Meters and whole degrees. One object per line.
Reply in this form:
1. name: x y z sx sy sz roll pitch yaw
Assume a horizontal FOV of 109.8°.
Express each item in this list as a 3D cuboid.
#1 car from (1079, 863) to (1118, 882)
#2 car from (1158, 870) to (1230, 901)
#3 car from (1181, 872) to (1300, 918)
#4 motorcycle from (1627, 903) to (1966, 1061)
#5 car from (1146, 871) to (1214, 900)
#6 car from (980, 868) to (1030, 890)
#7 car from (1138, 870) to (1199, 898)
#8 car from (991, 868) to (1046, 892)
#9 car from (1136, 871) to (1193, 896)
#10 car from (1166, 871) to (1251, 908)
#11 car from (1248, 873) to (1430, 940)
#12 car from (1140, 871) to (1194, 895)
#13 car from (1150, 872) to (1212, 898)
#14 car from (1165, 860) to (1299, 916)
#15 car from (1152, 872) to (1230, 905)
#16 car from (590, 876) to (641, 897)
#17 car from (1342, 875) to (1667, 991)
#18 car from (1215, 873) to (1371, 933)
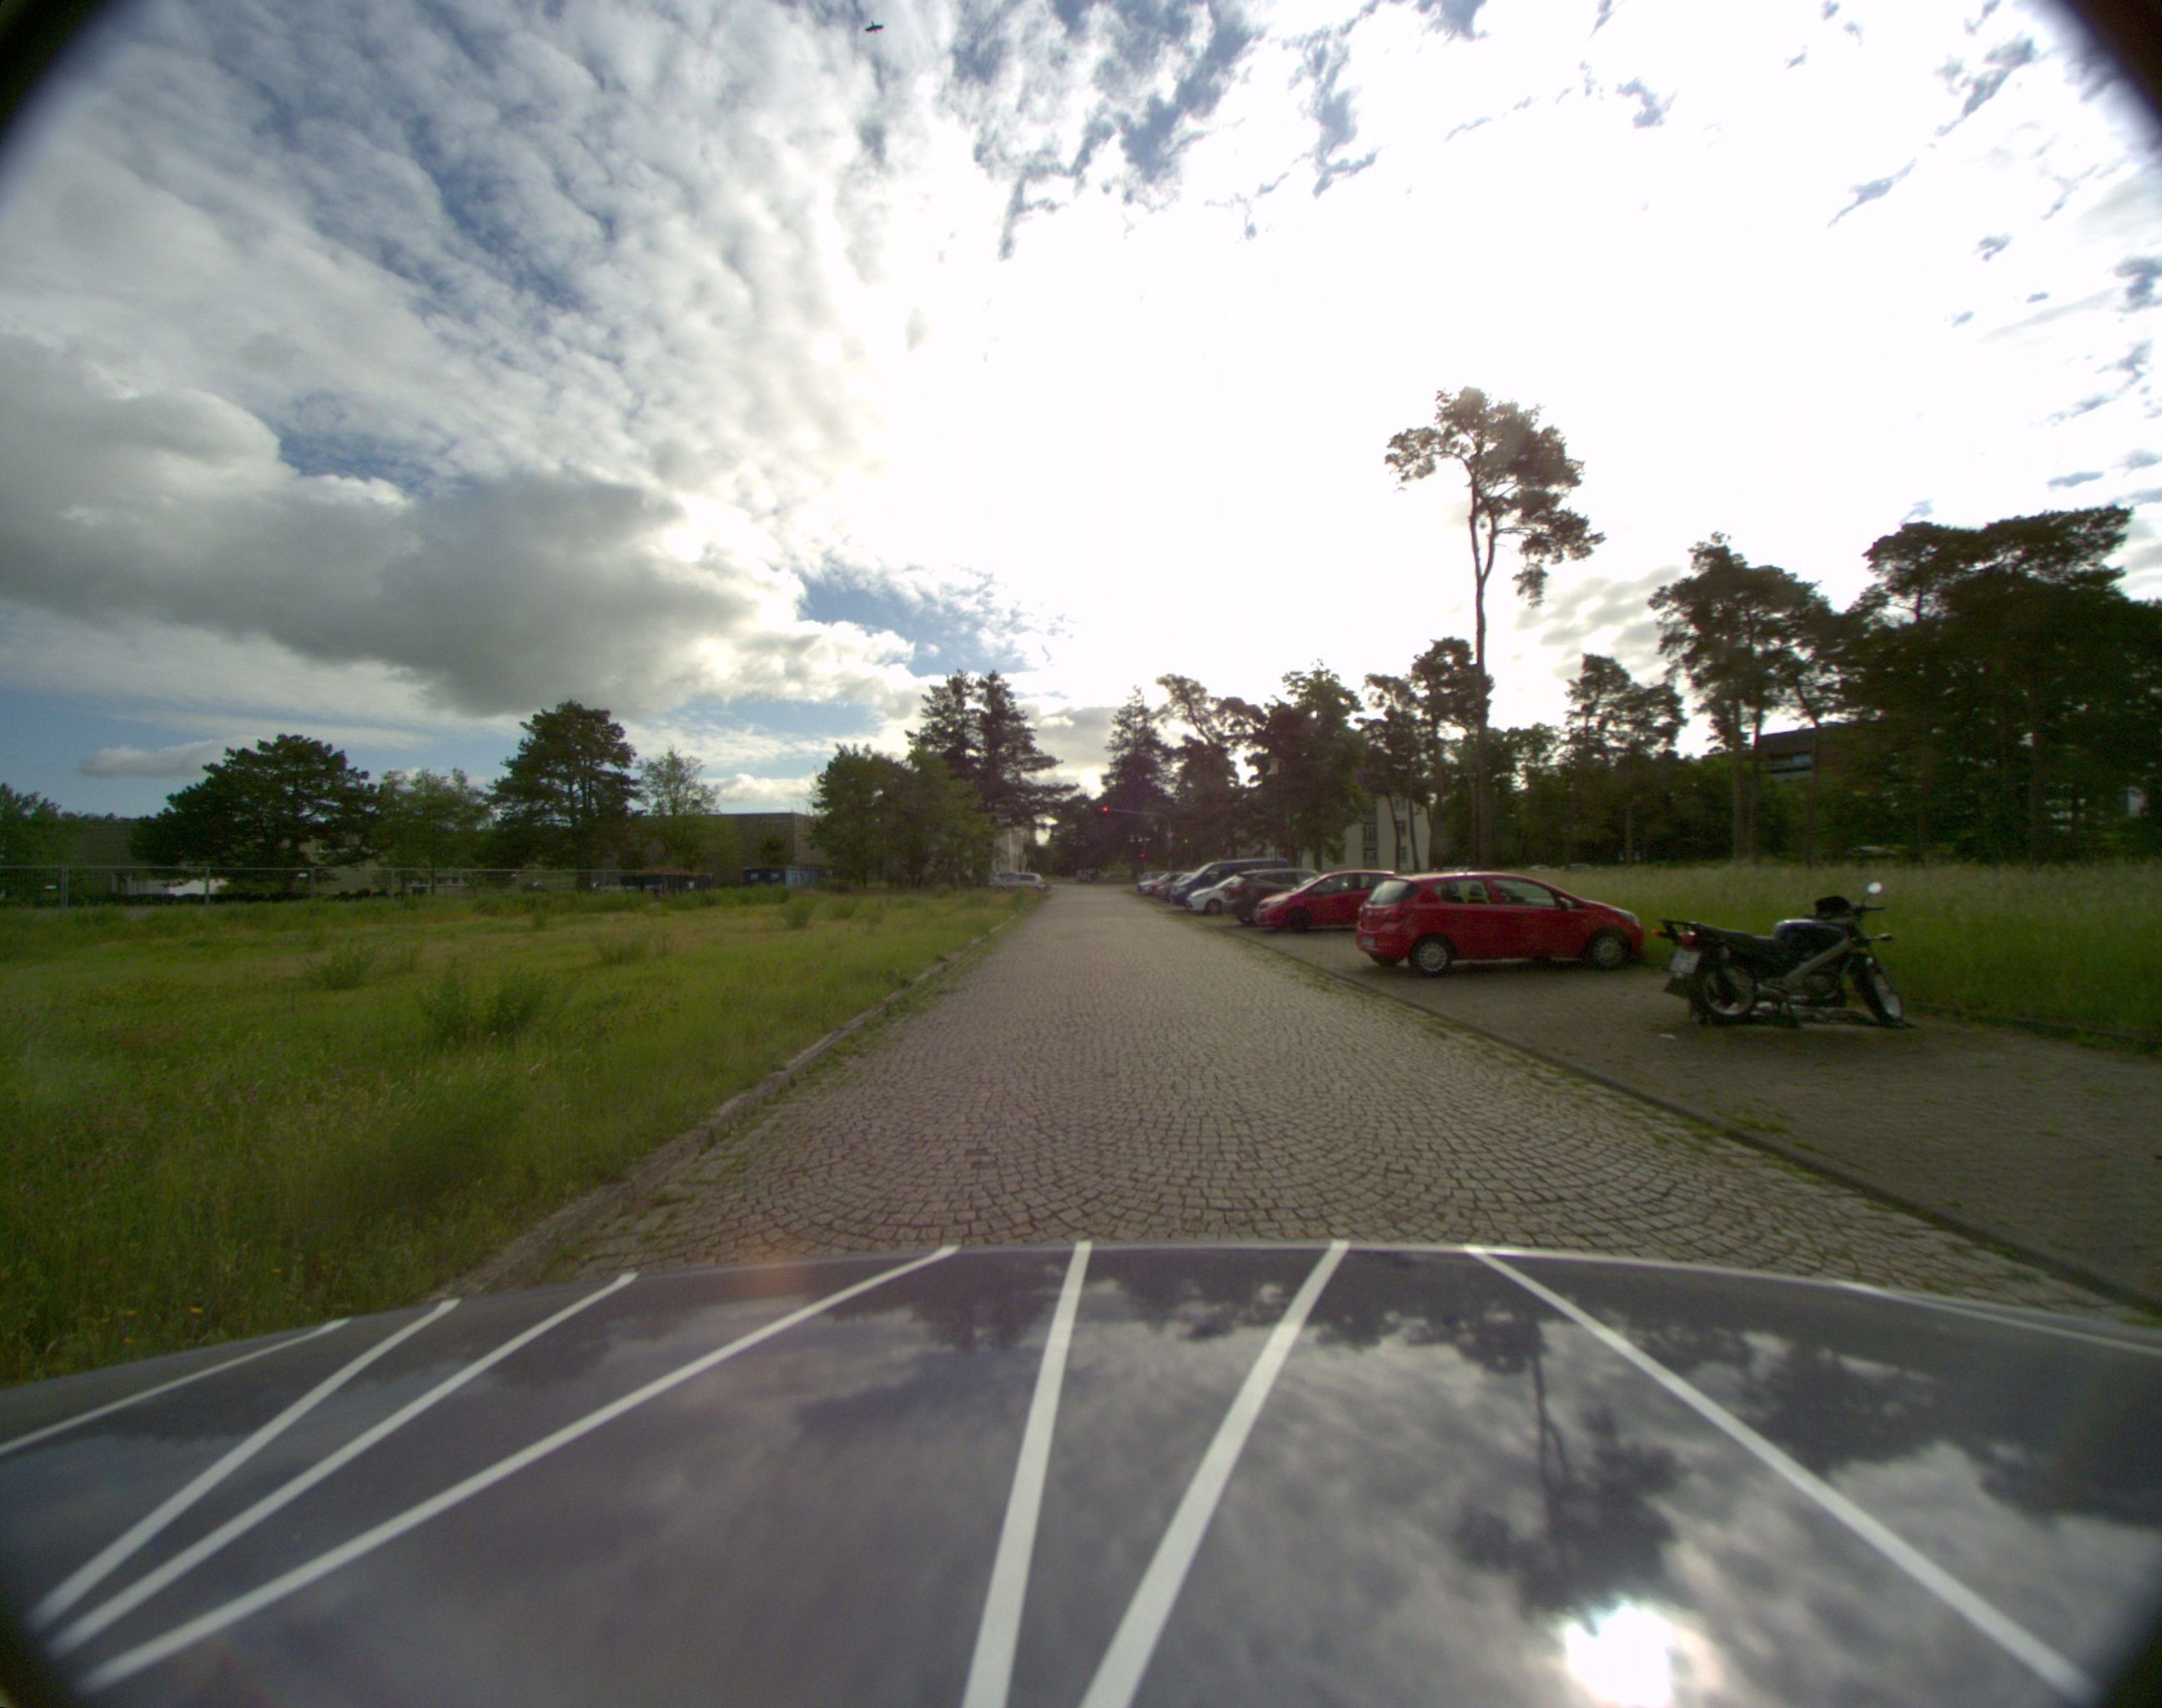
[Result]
1. car: 2.840 2.921 121.431 5.797 2.547 2.768 -4 0 -6
2. car: 6.219 1.730 41.905 3.573 1.425 1.606 -4 0 -7
3. car: 5.834 1.481 28.097 3.930 1.384 1.742 -4 0 -2
4. motorcycle: 6.474 1.134 6.966 2.361 1.280 0.744 -1 -1 0
5. car: 5.771 1.818 44.531 3.573 1.408 1.637 -4 0 -7
6. car: -5.931 1.906 58.781 3.731 1.429 1.625 -3 0 -8
7. car: 5.616 1.916 48.996 3.573 1.479 1.602 -4 0 -8
8. car: -4.385 1.799 53.420 3.730 1.429 1.626 -3 0 -4
9. car: 5.652 2.010 51.852 3.571 1.450 1.626 -4 0 -3
10. car: 6.043 1.656 36.257 3.600 1.445 1.687 -4 0 -7
11. car: 6.349 1.278 19.021 3.951 1.511 1.708 -1 -2 0
12. car: 6.124 2.047 54.511 3.455 1.423 1.627 -4 0 -10
13. car: 6.141 1.916 46.903 3.650 1.340 1.621 -4 0 4
14. car: 6.019 1.325 30.727 4.833 1.855 2.161 -4 0 -2
15. car: 5.595 1.743 38.897 3.600 1.412 1.617 -3 0 -7
16. car: -43.092 3.014 70.350 3.779 1.891 1.995 2 -3 -41
17. car: 6.153 1.117 11.362 3.894 1.469 1.672 -2 -1 -1
18. car: 5.973 1.367 21.700 3.916 1.594 1.821 -1 -1 -3
